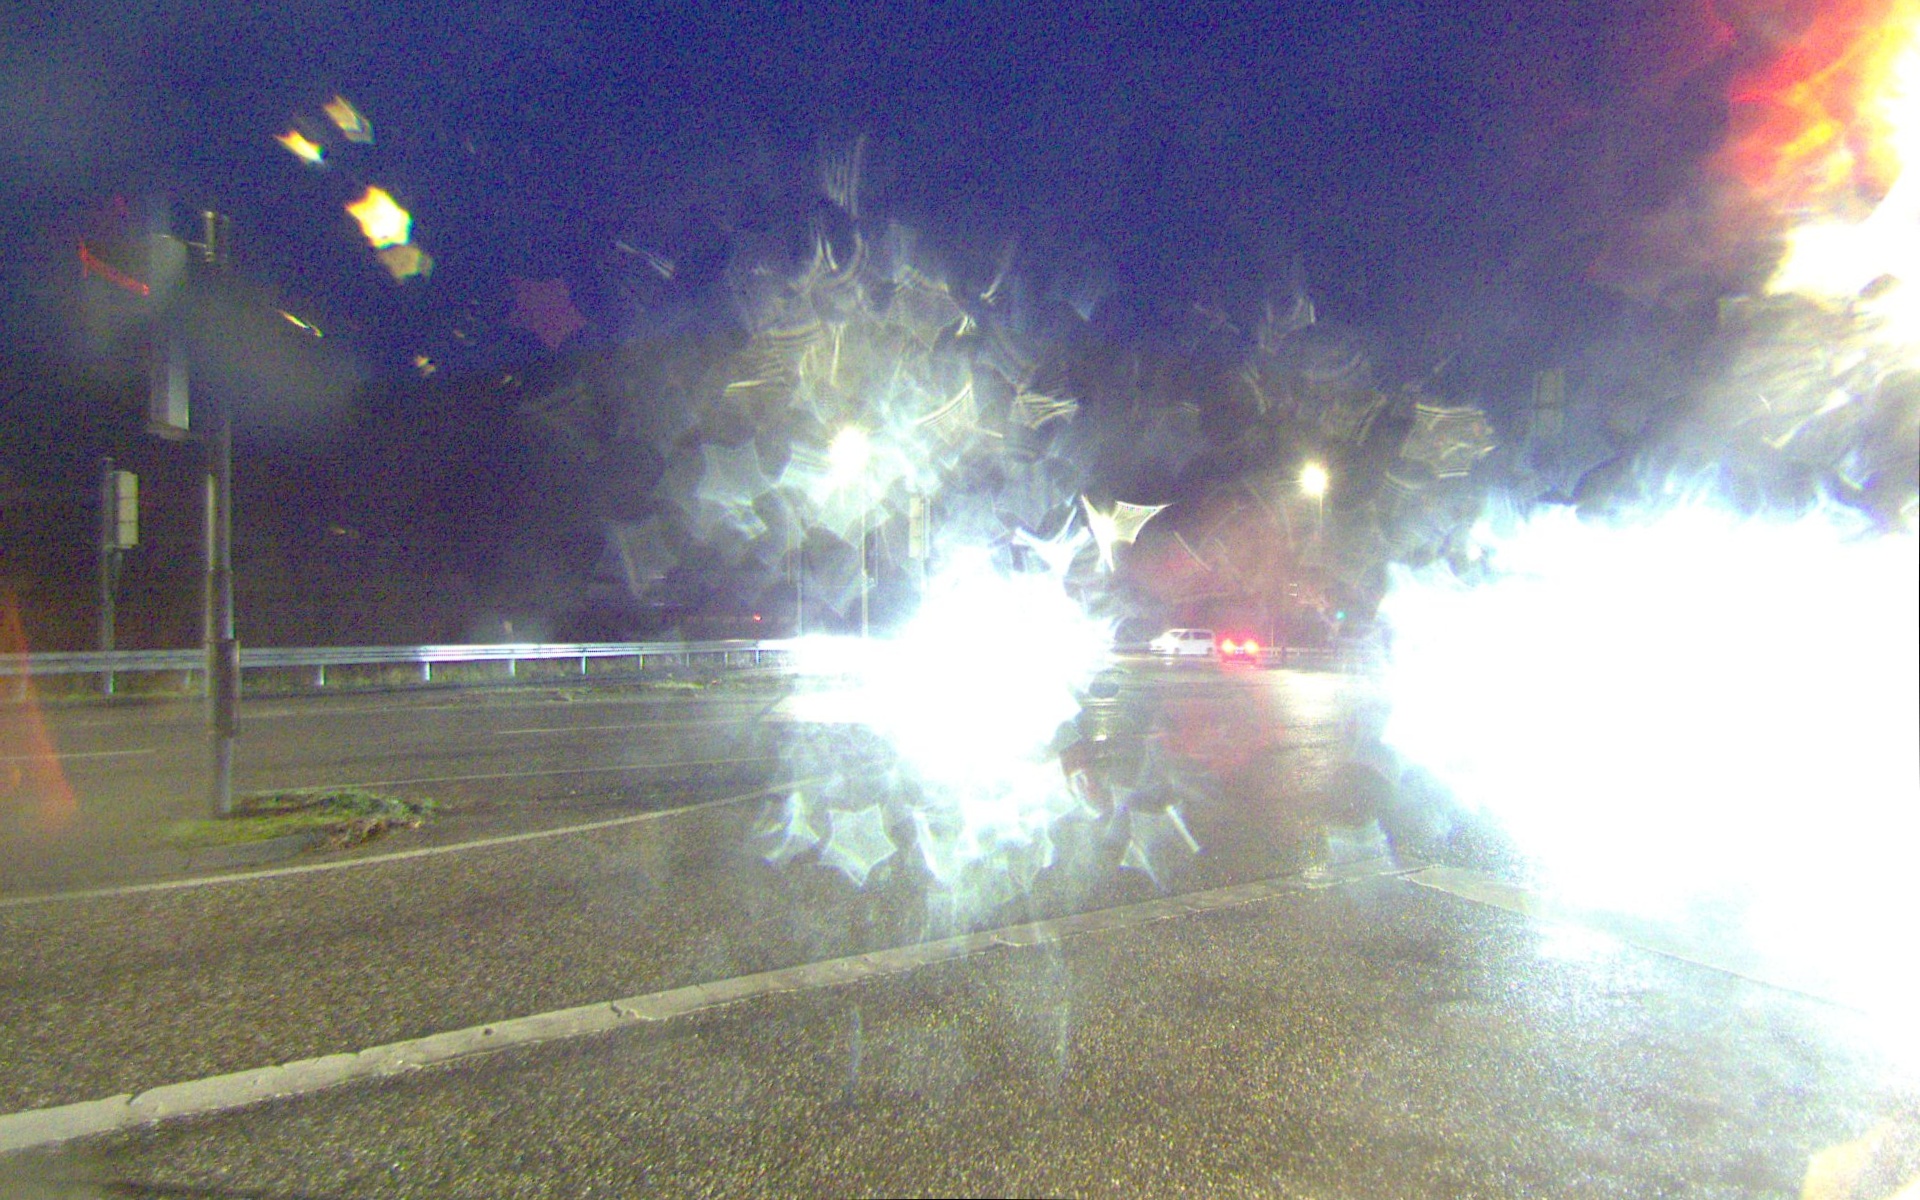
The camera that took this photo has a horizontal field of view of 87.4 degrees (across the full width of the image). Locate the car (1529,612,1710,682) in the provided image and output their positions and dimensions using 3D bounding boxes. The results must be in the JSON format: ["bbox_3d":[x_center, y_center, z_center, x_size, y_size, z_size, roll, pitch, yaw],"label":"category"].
[{"bbox_3d":[16.450,1.130,25.000,4.856,1.592,1.784,1,-1,-30],"label":"car"}]

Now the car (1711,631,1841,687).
[{"bbox_3d":[23.503,1.696,28.913,3.683,1.473,1.660,2,-1,-29],"label":"car"}]

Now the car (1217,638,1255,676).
[{"bbox_3d":[14.777,3.001,53.720,1.688,1.856,4.000,0,-1,19],"label":"car"}]

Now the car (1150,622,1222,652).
[{"bbox_3d":[16.060,2.634,71.422,4.863,1.965,1.985,2,-1,-28],"label":"car"}]

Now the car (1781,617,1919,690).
[{"bbox_3d":[22.027,1.260,24.219,4.650,1.592,1.693,1,-1,-27],"label":"car"}]

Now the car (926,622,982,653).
[{"bbox_3d":[-0.271,1.882,51.481,2.136,1.468,4.140,2,-1,10],"label":"car"}]
